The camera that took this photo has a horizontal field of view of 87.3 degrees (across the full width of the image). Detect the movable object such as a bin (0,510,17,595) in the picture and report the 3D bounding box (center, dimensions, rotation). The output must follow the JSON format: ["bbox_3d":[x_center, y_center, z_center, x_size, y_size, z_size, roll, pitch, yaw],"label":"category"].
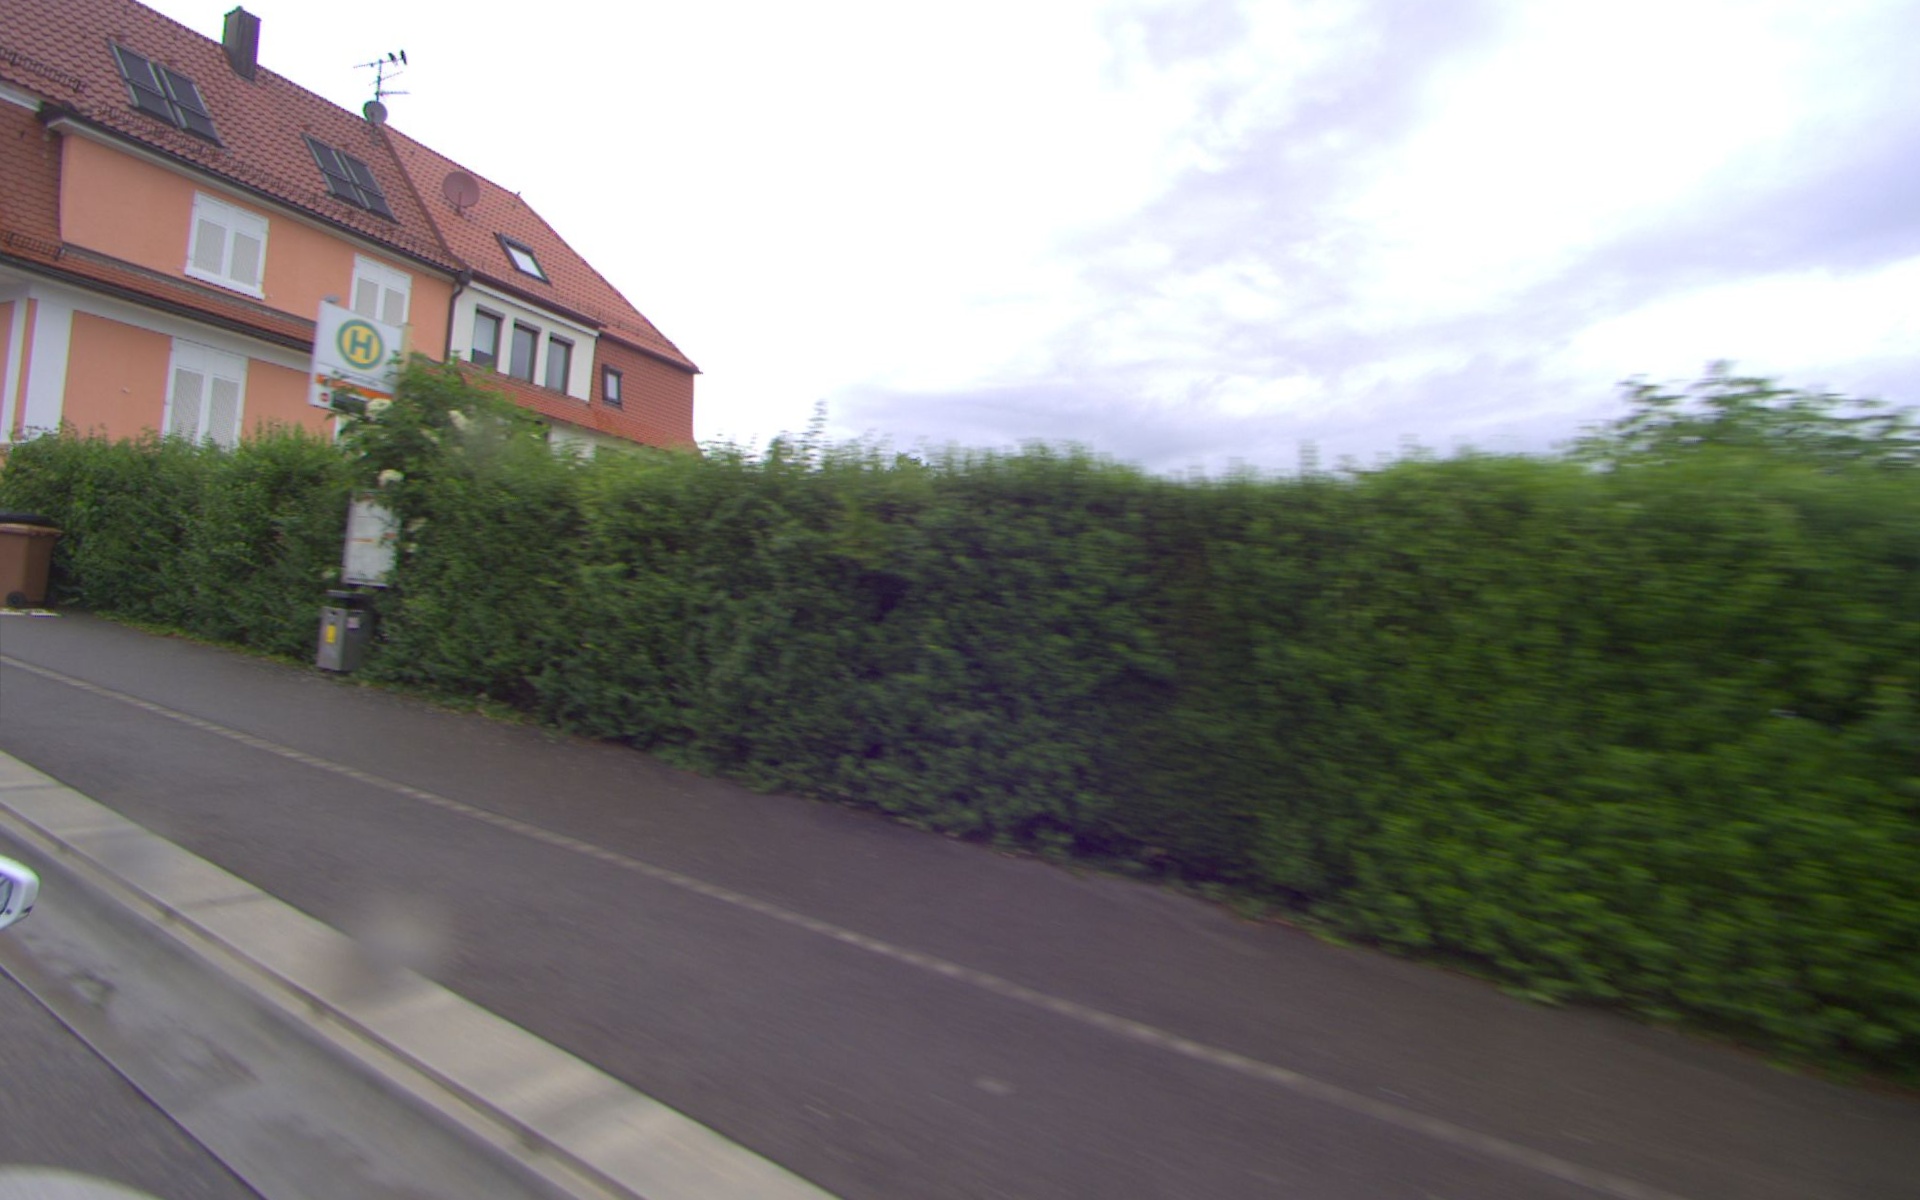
[{"bbox_3d":[-12.344,-0.636,12.453,0.744,1.043,0.712,7,1,28],"label":"movable object such as a bin"}]

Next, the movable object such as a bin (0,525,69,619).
[{"bbox_3d":[-10.762,-0.334,11.400,0.658,0.979,0.571,8,-2,-3],"label":"movable object such as a bin"}]
